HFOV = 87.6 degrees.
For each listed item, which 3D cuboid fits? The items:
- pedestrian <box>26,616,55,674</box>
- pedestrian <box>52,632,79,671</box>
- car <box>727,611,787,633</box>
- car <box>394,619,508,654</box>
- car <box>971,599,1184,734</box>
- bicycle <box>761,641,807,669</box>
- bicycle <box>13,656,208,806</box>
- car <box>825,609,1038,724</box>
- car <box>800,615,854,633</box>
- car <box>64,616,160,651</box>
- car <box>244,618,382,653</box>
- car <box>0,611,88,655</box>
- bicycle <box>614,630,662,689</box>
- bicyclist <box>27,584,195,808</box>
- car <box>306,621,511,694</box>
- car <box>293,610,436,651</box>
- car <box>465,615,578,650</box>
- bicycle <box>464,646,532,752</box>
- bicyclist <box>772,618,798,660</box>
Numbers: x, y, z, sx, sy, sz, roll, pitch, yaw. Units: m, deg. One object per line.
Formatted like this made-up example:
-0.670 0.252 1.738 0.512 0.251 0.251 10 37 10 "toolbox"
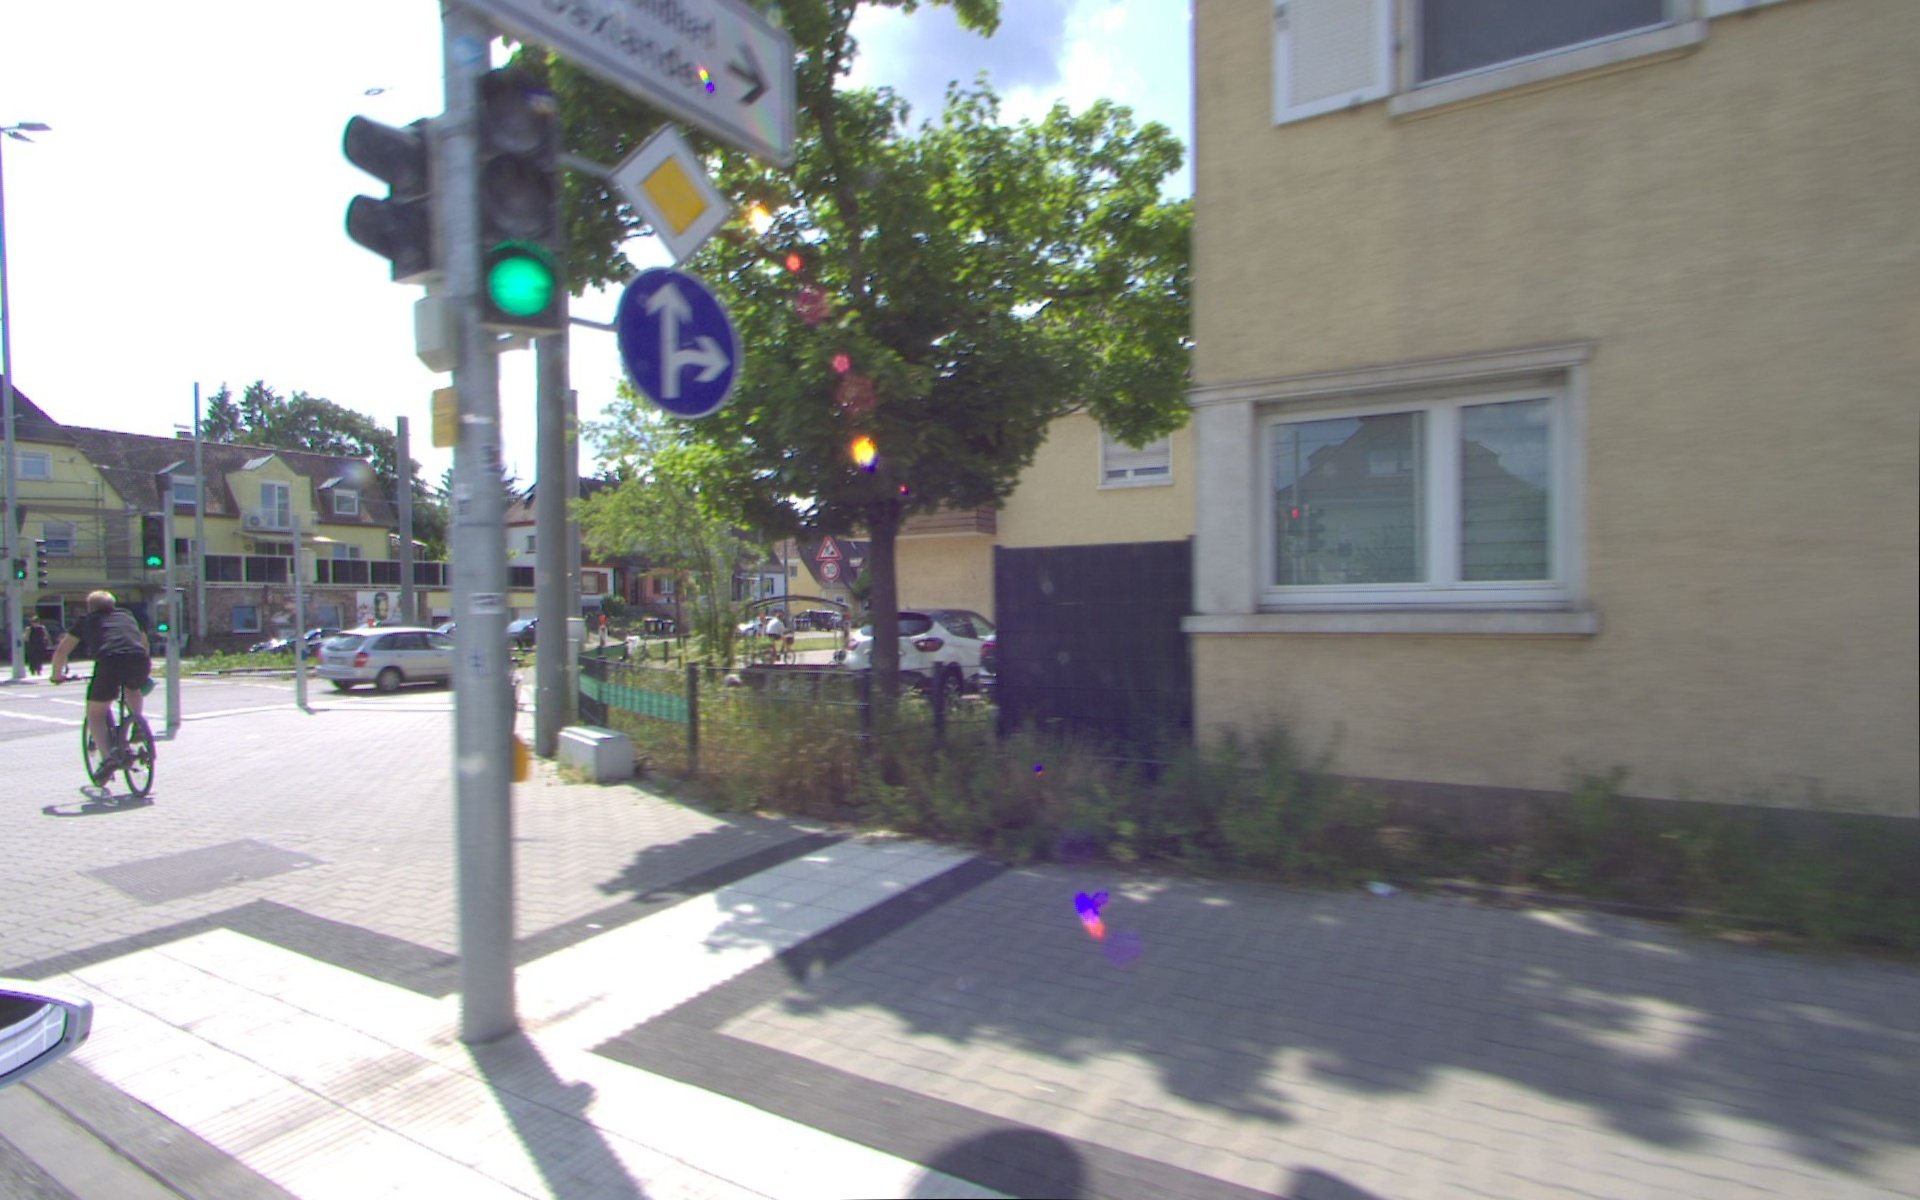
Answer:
-26.587 1.306 28.953 0.396 1.664 0.545 -1 -2 37 "pedestrian"
-26.304 1.508 29.455 0.383 1.150 0.487 -1 -2 32 "pedestrian"
-13.863 1.532 68.543 1.713 1.492 4.313 -1 -2 29 "car"
-22.625 1.634 44.670 1.713 1.492 4.313 -1 -2 29 "car"
1.823 0.829 14.226 1.771 1.617 4.105 0 -1 26 "car"
-5.270 1.637 29.992 0.497 0.791 1.578 -1 0 27 "bicycle"
-7.529 1.090 8.852 1.944 1.090 0.825 0 1 35 "bicycle"
-0.306 0.962 16.229 1.771 1.617 4.105 0 -1 26 "car"
-11.201 2.017 84.354 4.259 1.492 1.735 -1 -2 25 "car"
-34.543 1.385 40.784 4.073 1.368 1.864 -2 -2 32 "car"
-25.412 1.414 39.498 1.713 1.325 4.313 -1 -2 29 "car"
-35.826 1.284 38.807 4.073 1.616 1.990 -2 -2 32 "car"
-6.477 1.184 20.199 0.374 1.152 1.575 0 -2 4 "bicycle"
-7.448 0.782 8.786 1.069 1.818 0.826 0 2 34 "bicyclist"
-12.891 1.280 23.679 1.707 1.422 4.003 3 1 25 "car"
-22.086 1.099 37.321 1.713 1.346 4.310 -1 0 29 "car"
-18.786 1.381 43.102 1.713 1.346 4.310 -1 0 29 "car"
-4.955 1.024 10.806 0.455 1.031 1.753 0 -2 -18 "bicycle"
-5.253 1.174 30.050 0.501 1.250 0.576 -1 0 27 "bicyclist"
